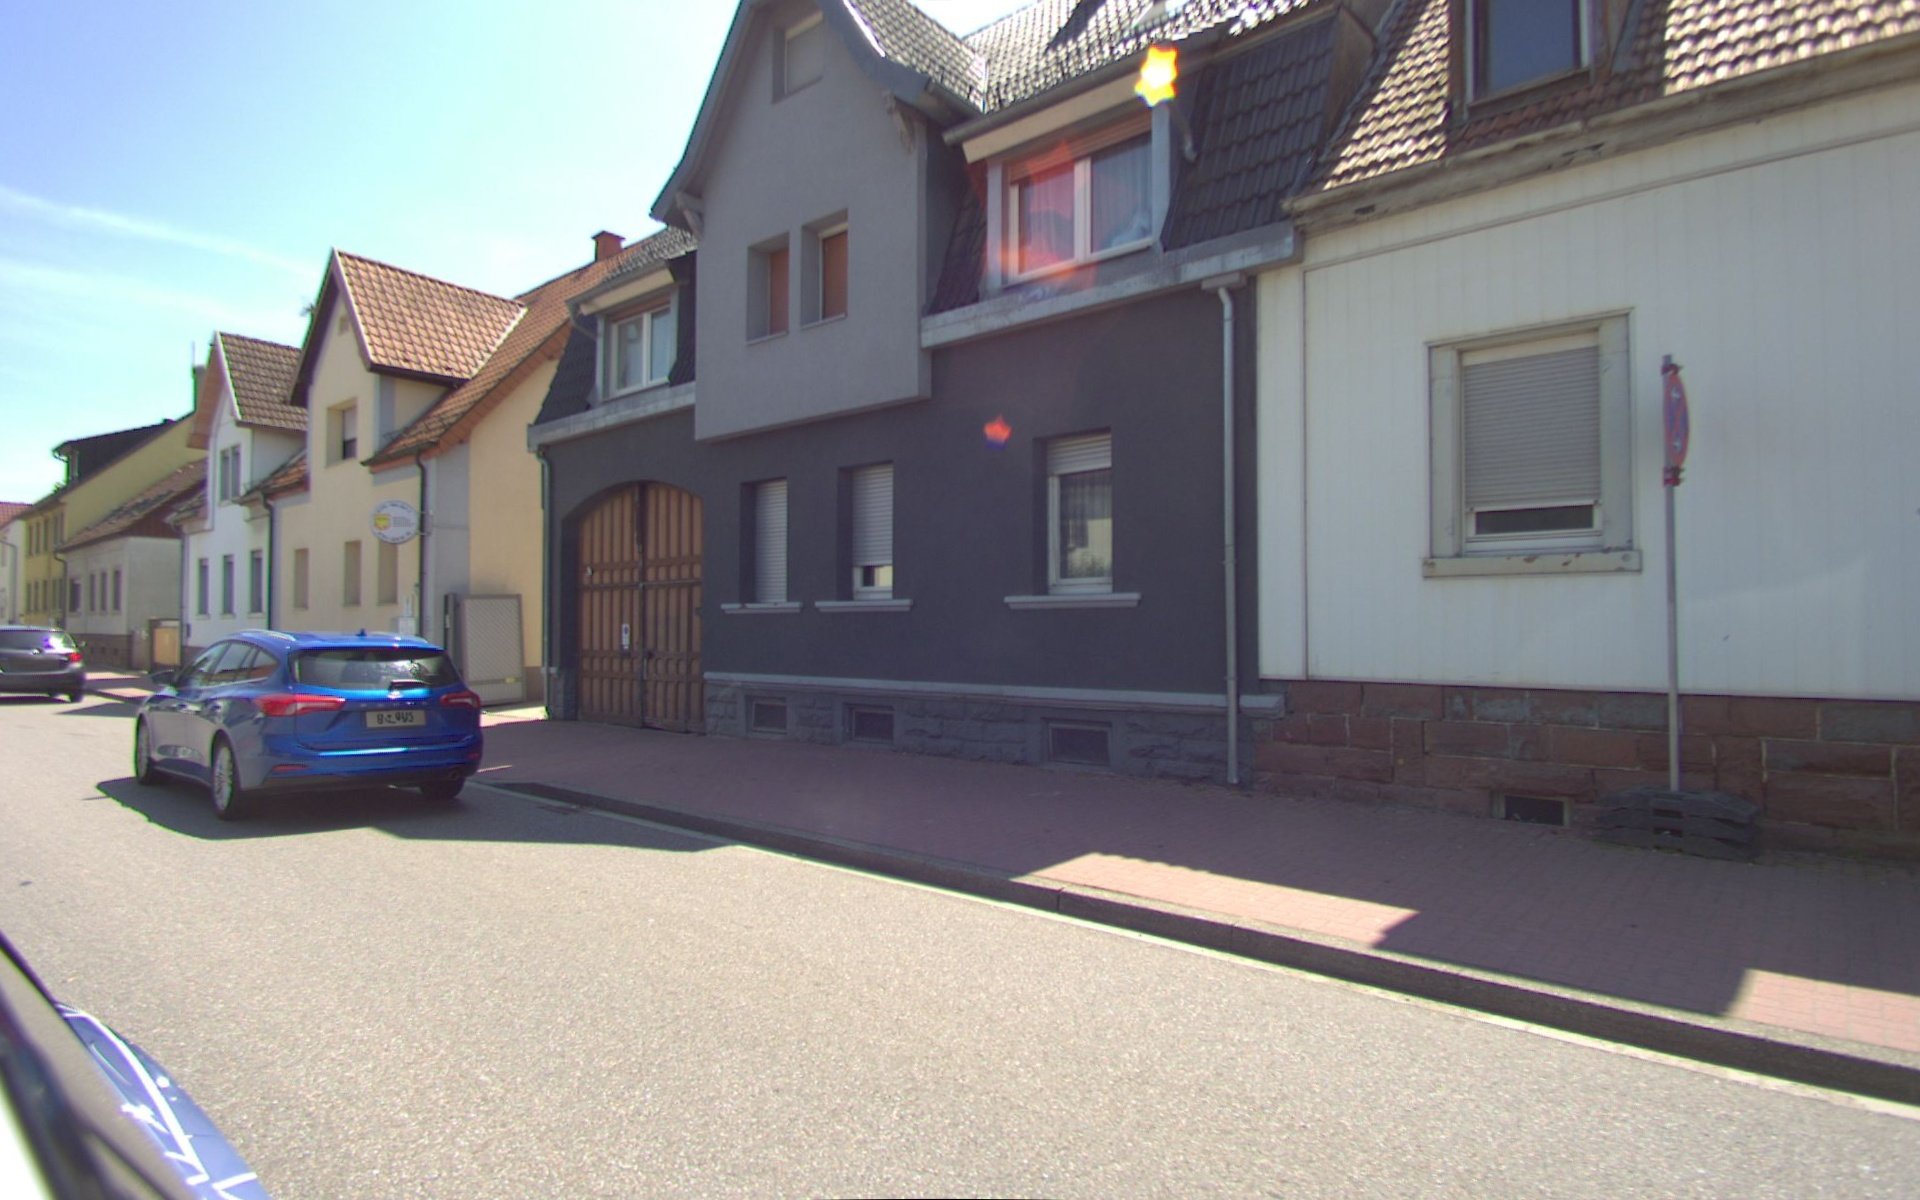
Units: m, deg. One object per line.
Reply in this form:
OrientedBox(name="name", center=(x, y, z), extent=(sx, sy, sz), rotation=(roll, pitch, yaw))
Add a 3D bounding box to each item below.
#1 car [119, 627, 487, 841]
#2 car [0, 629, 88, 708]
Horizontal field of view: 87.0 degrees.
OrientedBox(name="car", center=(-6.031, 1.000, 9.058), extent=(4.399, 1.465, 1.628), rotation=(-2, -4, 42))
OrientedBox(name="car", center=(-19.069, 1.325, 20.326), extent=(3.925, 1.470, 1.659), rotation=(-1, -4, 39))
